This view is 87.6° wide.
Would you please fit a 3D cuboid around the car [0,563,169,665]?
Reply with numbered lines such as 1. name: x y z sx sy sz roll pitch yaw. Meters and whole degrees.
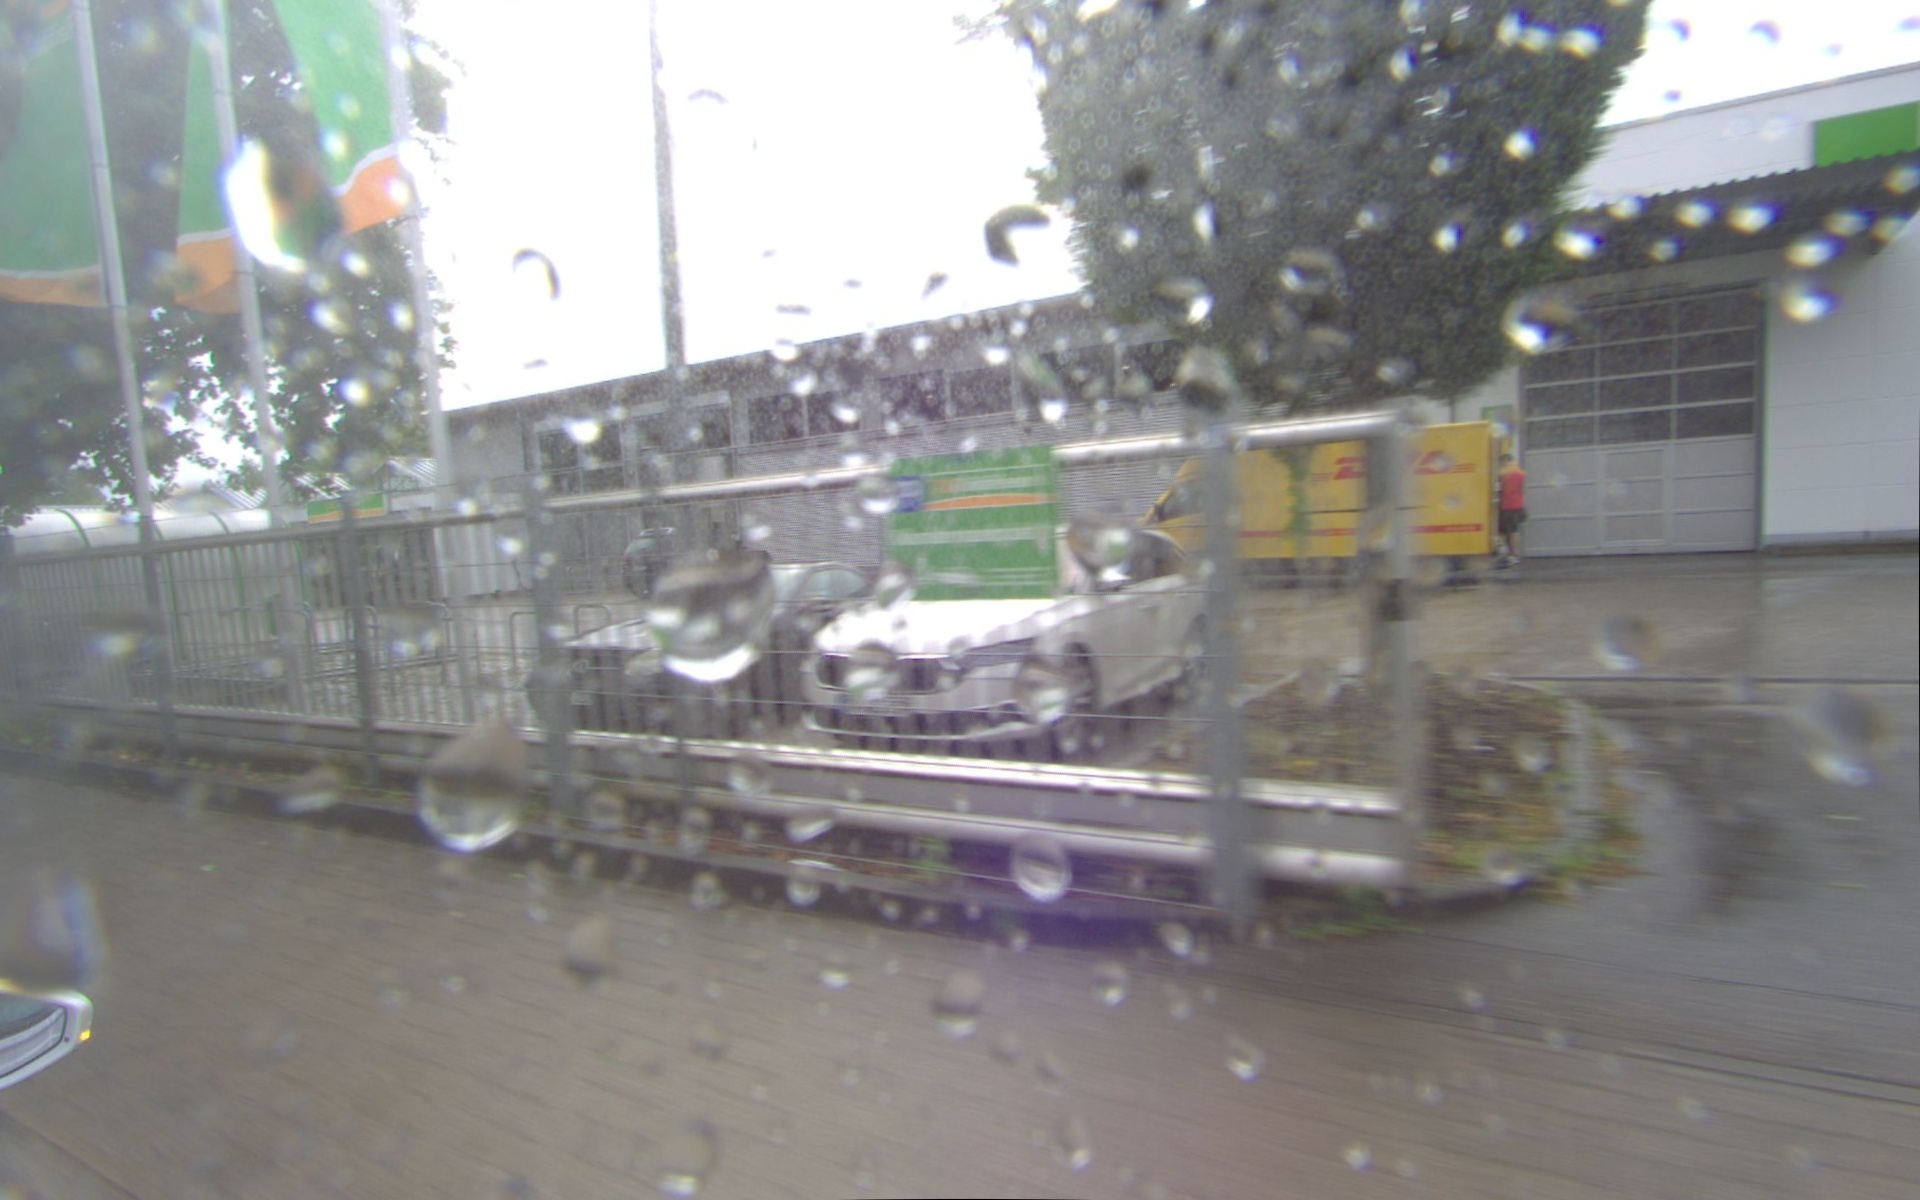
1. car: -17.210 0.282 18.017 1.796 1.624 4.198 -1 5 29

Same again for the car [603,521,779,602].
1. car: -7.203 -1.097 27.278 2.033 1.859 4.349 0 5 31

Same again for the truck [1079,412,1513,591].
1. truck: 6.082 -1.680 18.726 7.313 2.698 2.292 -1 6 34

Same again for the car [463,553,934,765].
1. car: -1.920 0.320 8.591 1.594 1.274 3.930 -1 3 29

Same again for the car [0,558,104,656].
1. car: -19.689 0.227 19.429 1.793 1.820 4.205 -1 4 23

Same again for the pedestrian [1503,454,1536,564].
1. pedestrian: 9.111 -1.482 16.305 0.427 1.743 0.453 0 7 33

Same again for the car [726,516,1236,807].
1. car: 0.577 0.164 7.589 1.862 1.483 4.693 -1 4 29
